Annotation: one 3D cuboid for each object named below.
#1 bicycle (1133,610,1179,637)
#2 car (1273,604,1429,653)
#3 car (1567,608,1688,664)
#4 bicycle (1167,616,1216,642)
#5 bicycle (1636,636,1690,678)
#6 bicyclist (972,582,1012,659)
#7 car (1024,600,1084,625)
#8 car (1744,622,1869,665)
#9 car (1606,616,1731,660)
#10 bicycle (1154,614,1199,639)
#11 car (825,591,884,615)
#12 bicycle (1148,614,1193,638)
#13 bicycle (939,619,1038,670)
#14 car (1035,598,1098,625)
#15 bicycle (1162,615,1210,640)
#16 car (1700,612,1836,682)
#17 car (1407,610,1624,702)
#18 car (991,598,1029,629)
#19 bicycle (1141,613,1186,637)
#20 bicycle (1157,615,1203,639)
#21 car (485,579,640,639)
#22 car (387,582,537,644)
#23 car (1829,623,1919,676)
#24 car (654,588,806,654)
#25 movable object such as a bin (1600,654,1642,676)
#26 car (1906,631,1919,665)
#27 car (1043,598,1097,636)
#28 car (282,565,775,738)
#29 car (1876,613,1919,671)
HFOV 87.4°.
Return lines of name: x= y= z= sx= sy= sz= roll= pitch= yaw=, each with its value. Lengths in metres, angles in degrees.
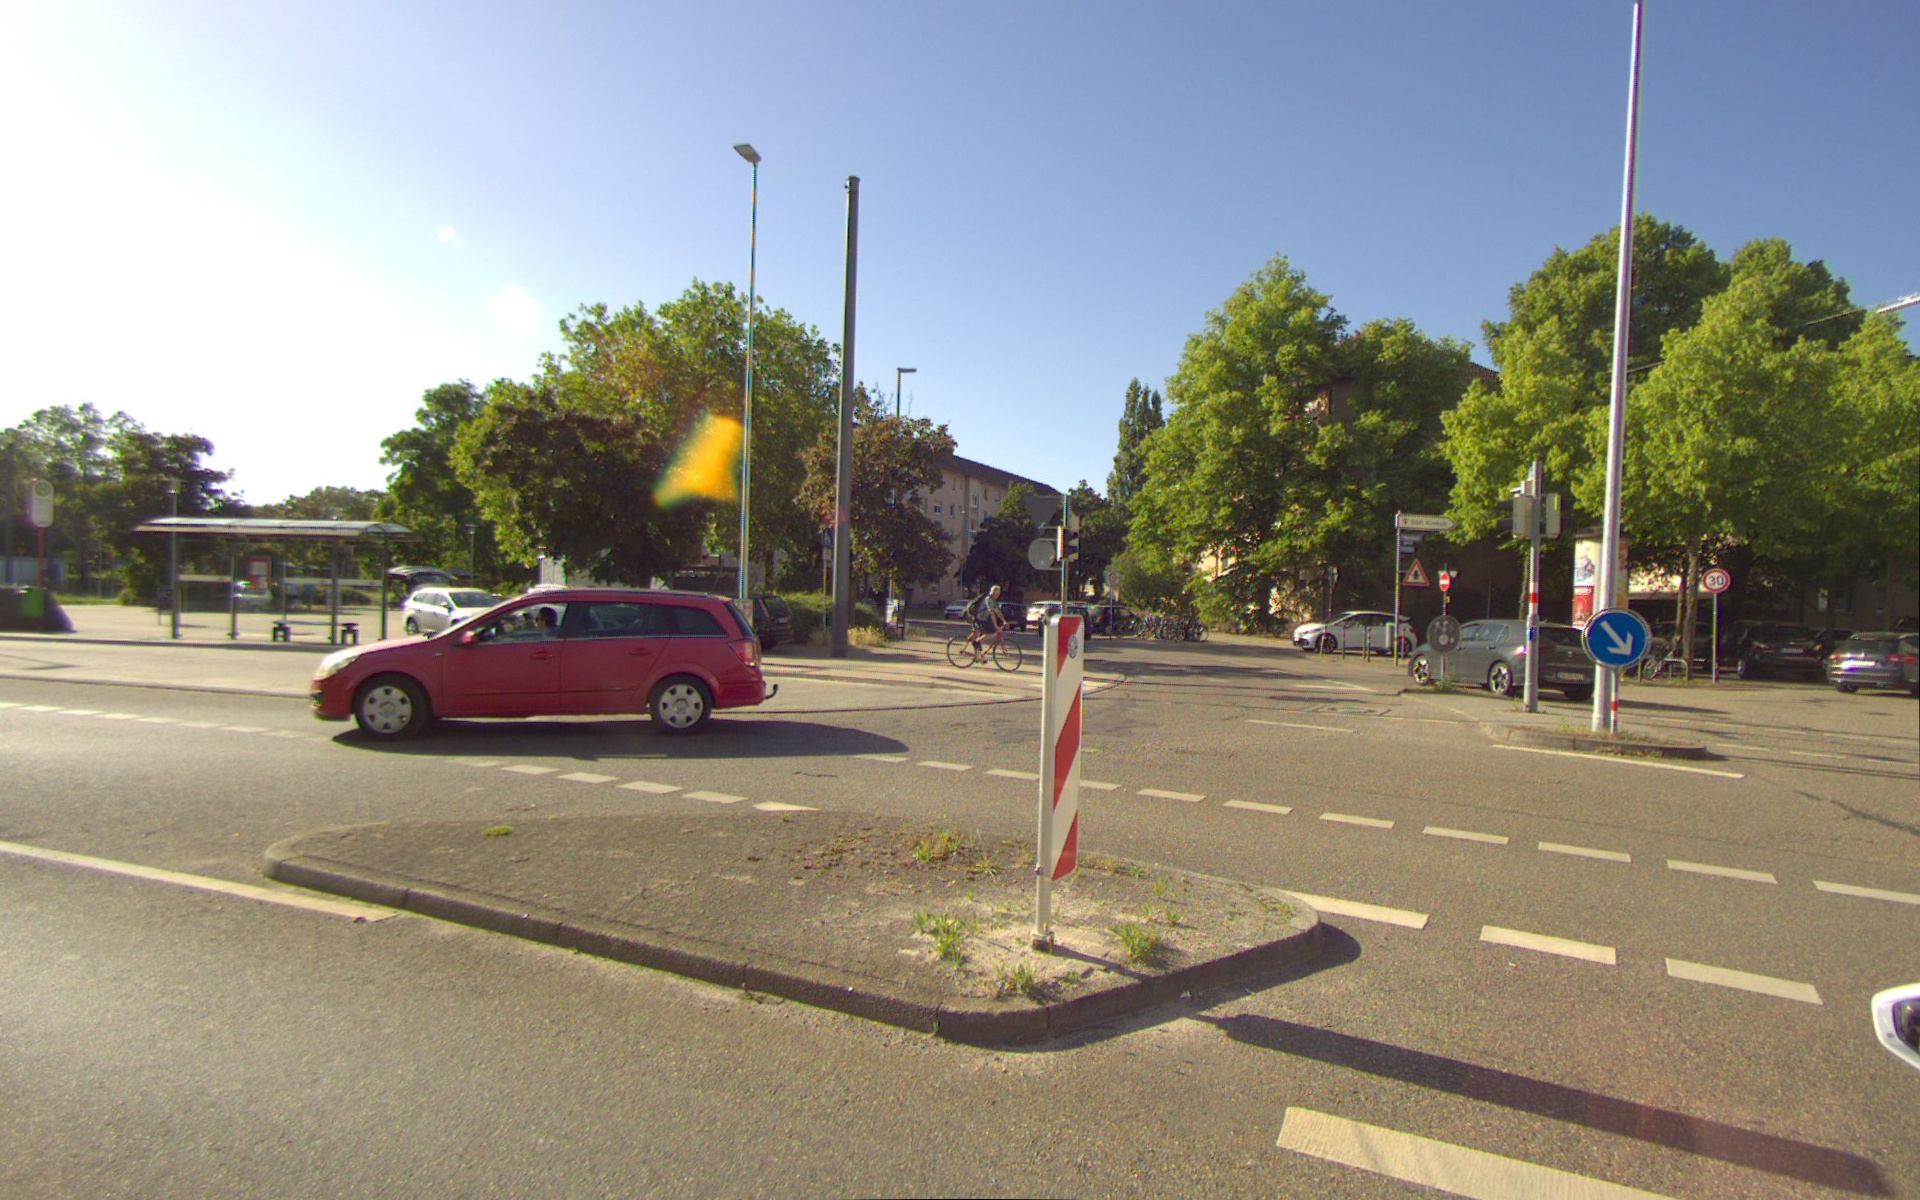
bicycle: x=9.069 y=1.102 z=46.528 sx=2.002 sy=1.193 sz=0.665 roll=1 pitch=0 yaw=-18
car: x=14.187 y=1.020 z=36.623 sx=4.939 sy=1.539 sz=1.923 roll=2 pitch=0 yaw=-3
car: x=21.385 y=1.118 z=32.381 sx=1.883 sy=1.632 sz=4.002 roll=2 pitch=0 yaw=12
bicycle: x=9.915 y=1.240 z=42.980 sx=2.002 sy=1.045 sz=0.569 roll=1 pitch=0 yaw=-18
bicycle: x=19.268 y=1.563 z=27.511 sx=1.568 sy=1.086 sz=0.352 roll=2 pitch=0 yaw=-20
bicyclist: x=0.669 y=0.426 z=21.130 sx=0.586 sy=1.585 sz=0.825 roll=2 pitch=0 yaw=-14
car: x=6.008 y=0.790 z=64.044 sx=3.555 sy=1.501 sz=1.606 roll=2 pitch=0 yaw=-34
car: x=32.415 y=1.655 z=38.475 sx=3.884 sy=1.506 sz=1.754 roll=2 pitch=0 yaw=-16
car: x=26.464 y=1.417 z=37.530 sx=3.884 sy=1.506 sz=1.754 roll=2 pitch=0 yaw=-16
bicycle: x=9.649 y=1.184 z=44.739 sx=2.002 sy=1.045 sz=0.446 roll=1 pitch=0 yaw=-18
car: x=-8.547 y=0.264 z=81.578 sx=4.344 sy=1.822 sz=2.066 roll=2 pitch=0 yaw=27
bicycle: x=9.507 y=1.194 z=45.325 sx=2.002 sy=1.045 sz=0.446 roll=1 pitch=0 yaw=-18
bicycle: x=0.599 y=0.934 z=21.114 sx=1.914 sy=0.999 sz=0.827 roll=2 pitch=0 yaw=-15
car: x=6.506 y=0.700 z=61.231 sx=3.555 sy=1.501 sz=1.606 roll=2 pitch=0 yaw=-34
bicycle: x=9.830 y=1.207 z=43.692 sx=2.002 sy=1.045 sz=0.569 roll=1 pitch=0 yaw=-18
car: x=23.659 y=1.302 z=29.602 sx=1.801 sy=1.694 sz=4.335 roll=2 pitch=2 yaw=21
car: x=10.629 y=1.018 z=19.557 sx=1.654 sy=1.528 sz=3.751 roll=2 pitch=0 yaw=-11
car: x=2.634 y=0.703 z=53.914 sx=1.651 sy=1.528 sz=3.594 roll=2 pitch=0 yaw=-3
bicycle: x=9.299 y=1.159 z=45.882 sx=2.002 sy=1.045 sz=0.446 roll=1 pitch=0 yaw=-18
bicycle: x=9.713 y=1.184 z=44.242 sx=2.002 sy=1.045 sz=0.467 roll=1 pitch=0 yaw=-18
car: x=-11.649 y=0.258 z=29.495 sx=3.920 sy=1.601 sz=1.800 roll=2 pitch=0 yaw=17
car: x=-13.635 y=0.340 z=27.535 sx=3.525 sy=1.528 sz=1.684 roll=2 pitch=0 yaw=19
car: x=29.351 y=1.541 z=31.606 sx=1.727 sy=1.500 sz=3.823 roll=2 pitch=0 yaw=20
car: x=-6.033 y=0.512 z=26.398 sx=3.525 sy=1.528 sz=1.683 roll=2 pitch=2 yaw=19
movable object such as a bin: x=19.012 y=1.866 z=28.884 sx=1.100 sy=0.572 sz=0.573 roll=2 pitch=0 yaw=-30
car: x=40.013 y=1.965 z=39.633 sx=4.337 sy=1.311 sz=1.766 roll=2 pitch=-2 yaw=-12
car: x=4.799 y=0.722 z=44.246 sx=1.652 sy=1.528 sz=3.593 roll=2 pitch=0 yaw=-6
car: x=-4.352 y=0.519 z=10.779 sx=4.414 sy=1.573 sz=1.992 roll=2 pitch=0 yaw=-18
car: x=32.787 y=1.413 z=33.563 sx=1.899 sy=1.898 sz=4.499 roll=2 pitch=0 yaw=25
